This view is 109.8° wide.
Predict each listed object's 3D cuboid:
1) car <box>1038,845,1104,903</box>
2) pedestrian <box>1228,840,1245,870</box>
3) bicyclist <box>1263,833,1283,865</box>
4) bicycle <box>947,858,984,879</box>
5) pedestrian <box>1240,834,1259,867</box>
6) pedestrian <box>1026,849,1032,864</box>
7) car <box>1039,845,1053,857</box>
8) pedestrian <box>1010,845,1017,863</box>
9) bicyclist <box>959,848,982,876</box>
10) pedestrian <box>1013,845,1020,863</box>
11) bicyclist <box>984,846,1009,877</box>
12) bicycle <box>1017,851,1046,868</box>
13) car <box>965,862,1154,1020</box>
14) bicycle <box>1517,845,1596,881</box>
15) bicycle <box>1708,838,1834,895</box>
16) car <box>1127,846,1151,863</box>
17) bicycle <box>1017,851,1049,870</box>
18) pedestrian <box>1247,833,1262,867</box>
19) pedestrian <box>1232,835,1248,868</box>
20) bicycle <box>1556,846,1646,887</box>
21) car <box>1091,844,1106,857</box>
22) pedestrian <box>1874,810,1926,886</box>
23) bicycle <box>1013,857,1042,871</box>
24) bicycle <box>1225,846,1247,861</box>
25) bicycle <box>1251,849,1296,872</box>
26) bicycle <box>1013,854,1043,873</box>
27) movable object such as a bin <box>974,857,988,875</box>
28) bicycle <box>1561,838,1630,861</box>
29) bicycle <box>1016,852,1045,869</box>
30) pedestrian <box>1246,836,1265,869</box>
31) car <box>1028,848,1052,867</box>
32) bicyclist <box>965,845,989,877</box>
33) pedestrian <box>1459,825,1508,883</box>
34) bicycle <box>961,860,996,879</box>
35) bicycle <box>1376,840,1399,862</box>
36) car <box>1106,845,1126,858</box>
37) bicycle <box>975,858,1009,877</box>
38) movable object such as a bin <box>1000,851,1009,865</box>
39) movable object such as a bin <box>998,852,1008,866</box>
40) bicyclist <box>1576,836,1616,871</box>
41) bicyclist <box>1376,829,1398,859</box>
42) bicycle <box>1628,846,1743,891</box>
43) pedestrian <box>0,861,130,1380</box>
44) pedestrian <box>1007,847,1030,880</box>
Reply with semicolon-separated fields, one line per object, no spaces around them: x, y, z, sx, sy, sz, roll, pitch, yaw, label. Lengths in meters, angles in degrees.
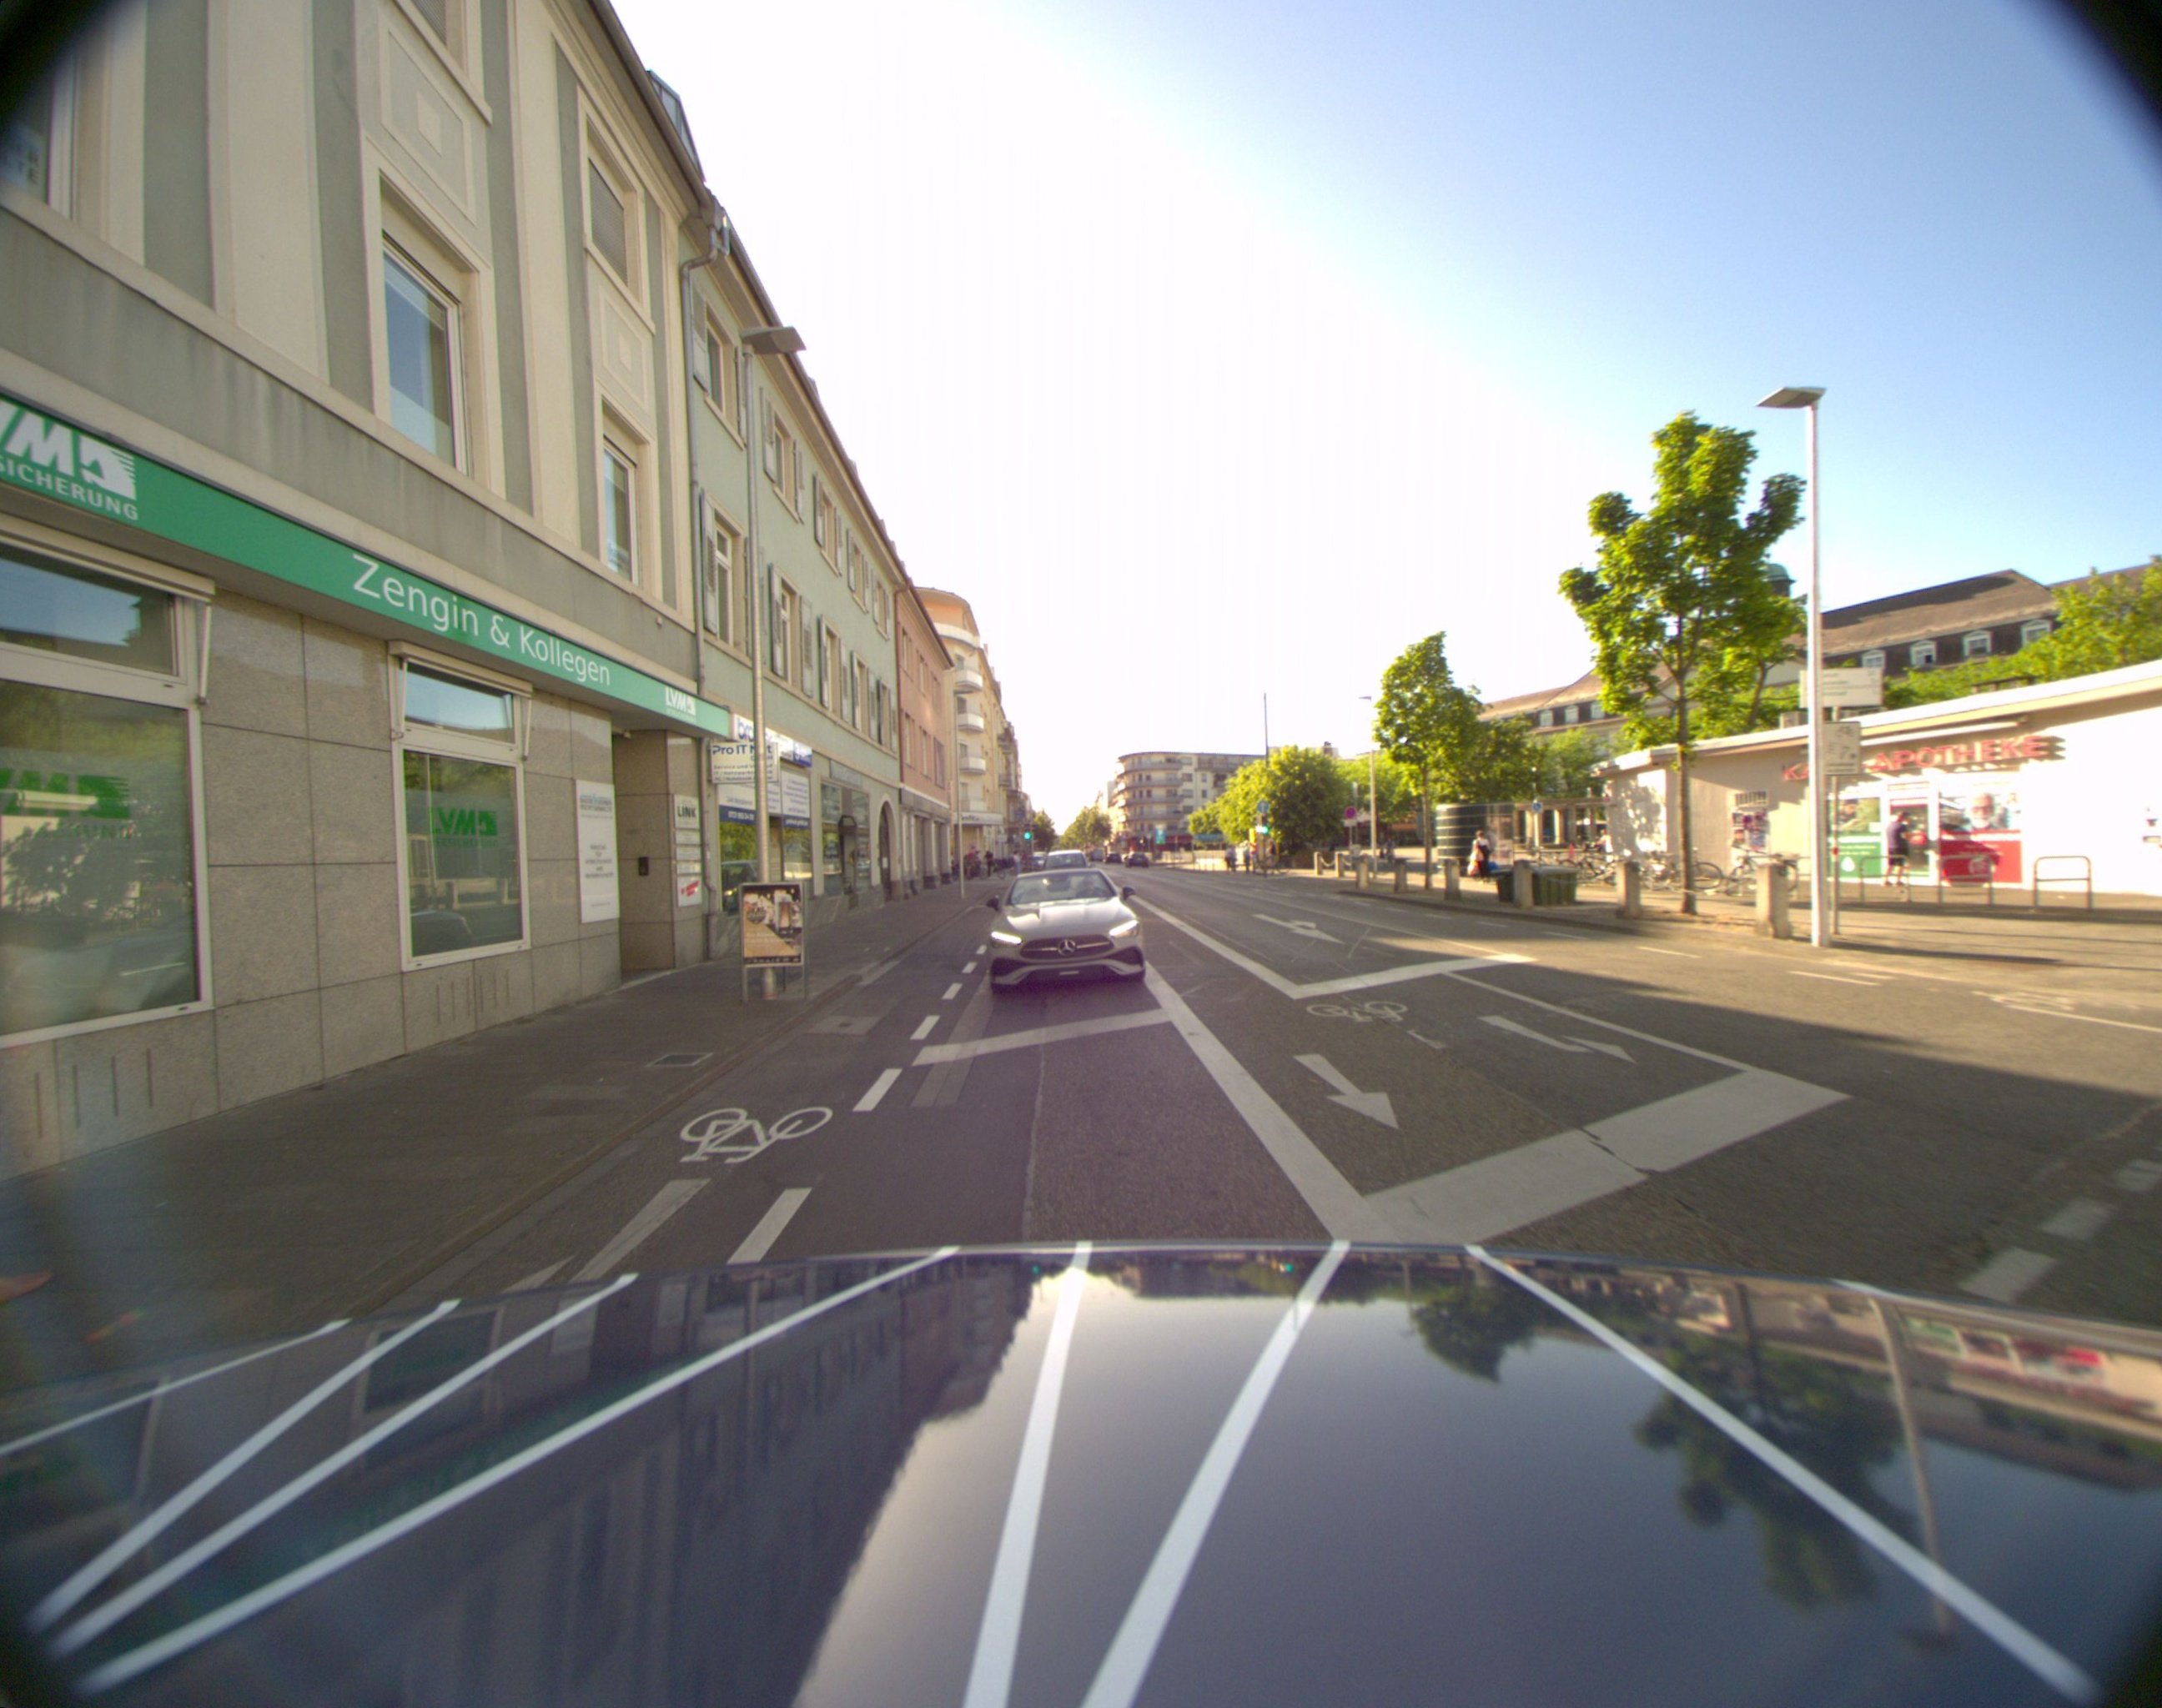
-0.364;0.609;25.815;1.999;1.718;3.999;-2;1;-1;car
8.760;0.037;42.735;0.686;1.664;0.698;-2;1;30;pedestrian
10.101;-0.268;39.930;0.804;1.639;0.995;-3;1;20;bicyclist
-6.704;0.846;44.106;1.916;1.090;0.734;-2;1;20;bicycle
9.276;-0.178;41.823;0.590;1.801;0.782;-3;1;-28;pedestrian
-6.627;0.339;96.616;0.694;1.895;0.906;-3;1;-5;pedestrian
-5.240;-0.450;115.110;1.999;1.718;3.999;-3;1;-1;car
-7.122;-0.009;80.566;0.673;1.942;0.614;-3;1;-5;pedestrian
-6.393;0.465;44.068;1.028;1.574;0.727;-2;1;20;bicyclist
-6.790;0.012;79.831;0.694;1.895;0.906;-3;1;-5;pedestrian
-4.890;0.435;43.789;1.129;1.675;0.727;-2;1;26;bicyclist
-3.534;0.421;54.694;2.027;1.143;0.715;-2;1;-1;bicycle
-0.225;0.953;10.280;1.910;1.454;4.363;-4;1;0;car
14.678;0.277;23.480;1.888;0.996;0.765;-3;1;6;bicycle
14.752;0.257;16.279;1.993;1.082;0.753;-3;1;0;bicycle
5.232;0.012;69.104;1.655;1.389;4.041;2;1;-2;car
-3.308;0.446;52.122;2.142;1.237;0.710;-2;1;-6;bicycle
10.011;-0.233;43.792;0.609;1.907;0.784;-3;1;0;pedestrian
9.106;-0.158;43.425;0.650;1.847;0.626;-2;1;30;pedestrian
14.267;0.331;20.897;1.888;0.996;0.765;-3;1;6;bicycle
2.547;-0.527;112.633;1.999;1.936;4.781;0;1;-3;car
18.777;-0.142;17.420;0.520;1.699;0.611;-2;1;-2;pedestrian
-3.546;0.684;50.564;1.848;0.826;0.741;-2;1;-7;bicycle
11.454;-0.030;56.147;1.529;1.025;0.364;-2;1;13;bicycle
10.104;0.330;39.947;2.171;1.066;0.764;-3;1;19;bicycle
-3.552;0.631;50.976;1.946;1.205;0.932;-2;1;-7;bicycle
-6.414;0.756;48.728;0.810;1.106;0.620;-3;1;-3;movable object such as a bin
24.371;-0.202;36.034;2.568;1.001;0.786;-2;1;21;bicycle
-3.708;0.457;55.760;2.049;1.174;0.683;-2;1;-1;bicycle
9.773;-0.069;42.572;0.781;1.801;0.590;-2;2;44;pedestrian
-3.345;0.257;62.187;1.693;1.390;3.999;-3;1;0;car
-5.890;0.398;43.045;1.142;1.751;0.752;-3;1;-23;bicyclist
12.434;-0.005;23.489;0.902;1.688;1.086;-3;1;2;pedestrian
-5.823;0.886;43.066;1.824;0.988;0.563;-3;1;-23;bicycle
17.075;-0.185;42.423;0.941;1.126;2.481;-2;1;17;bicycle
4.214;-0.347;92.101;1.754;1.415;4.252;-4;1;-5;car
-5.183;0.800;44.033;1.911;1.014;0.561;-2;1;26;bicycle
-6.852;0.349;67.914;0.703;1.232;0.960;-3;1;-1;movable object such as a bin
-6.780;0.402;66.149;0.703;1.154;0.960;-3;1;-1;movable object such as a bin
24.401;-0.028;36.033;1.369;1.588;0.983;-3;1;22;bicyclist
17.038;-0.543;42.330;0.941;1.599;1.171;-2;1;16;bicyclist
14.731;0.357;18.576;2.016;0.996;0.889;-2;1;12;bicycle
-3.904;0.886;2.352;0.691;1.693;0.912;-1;1;-1;pedestrian
-3.221;0.479;39.355;0.813;1.649;0.767;-2;1;35;pedestrian
